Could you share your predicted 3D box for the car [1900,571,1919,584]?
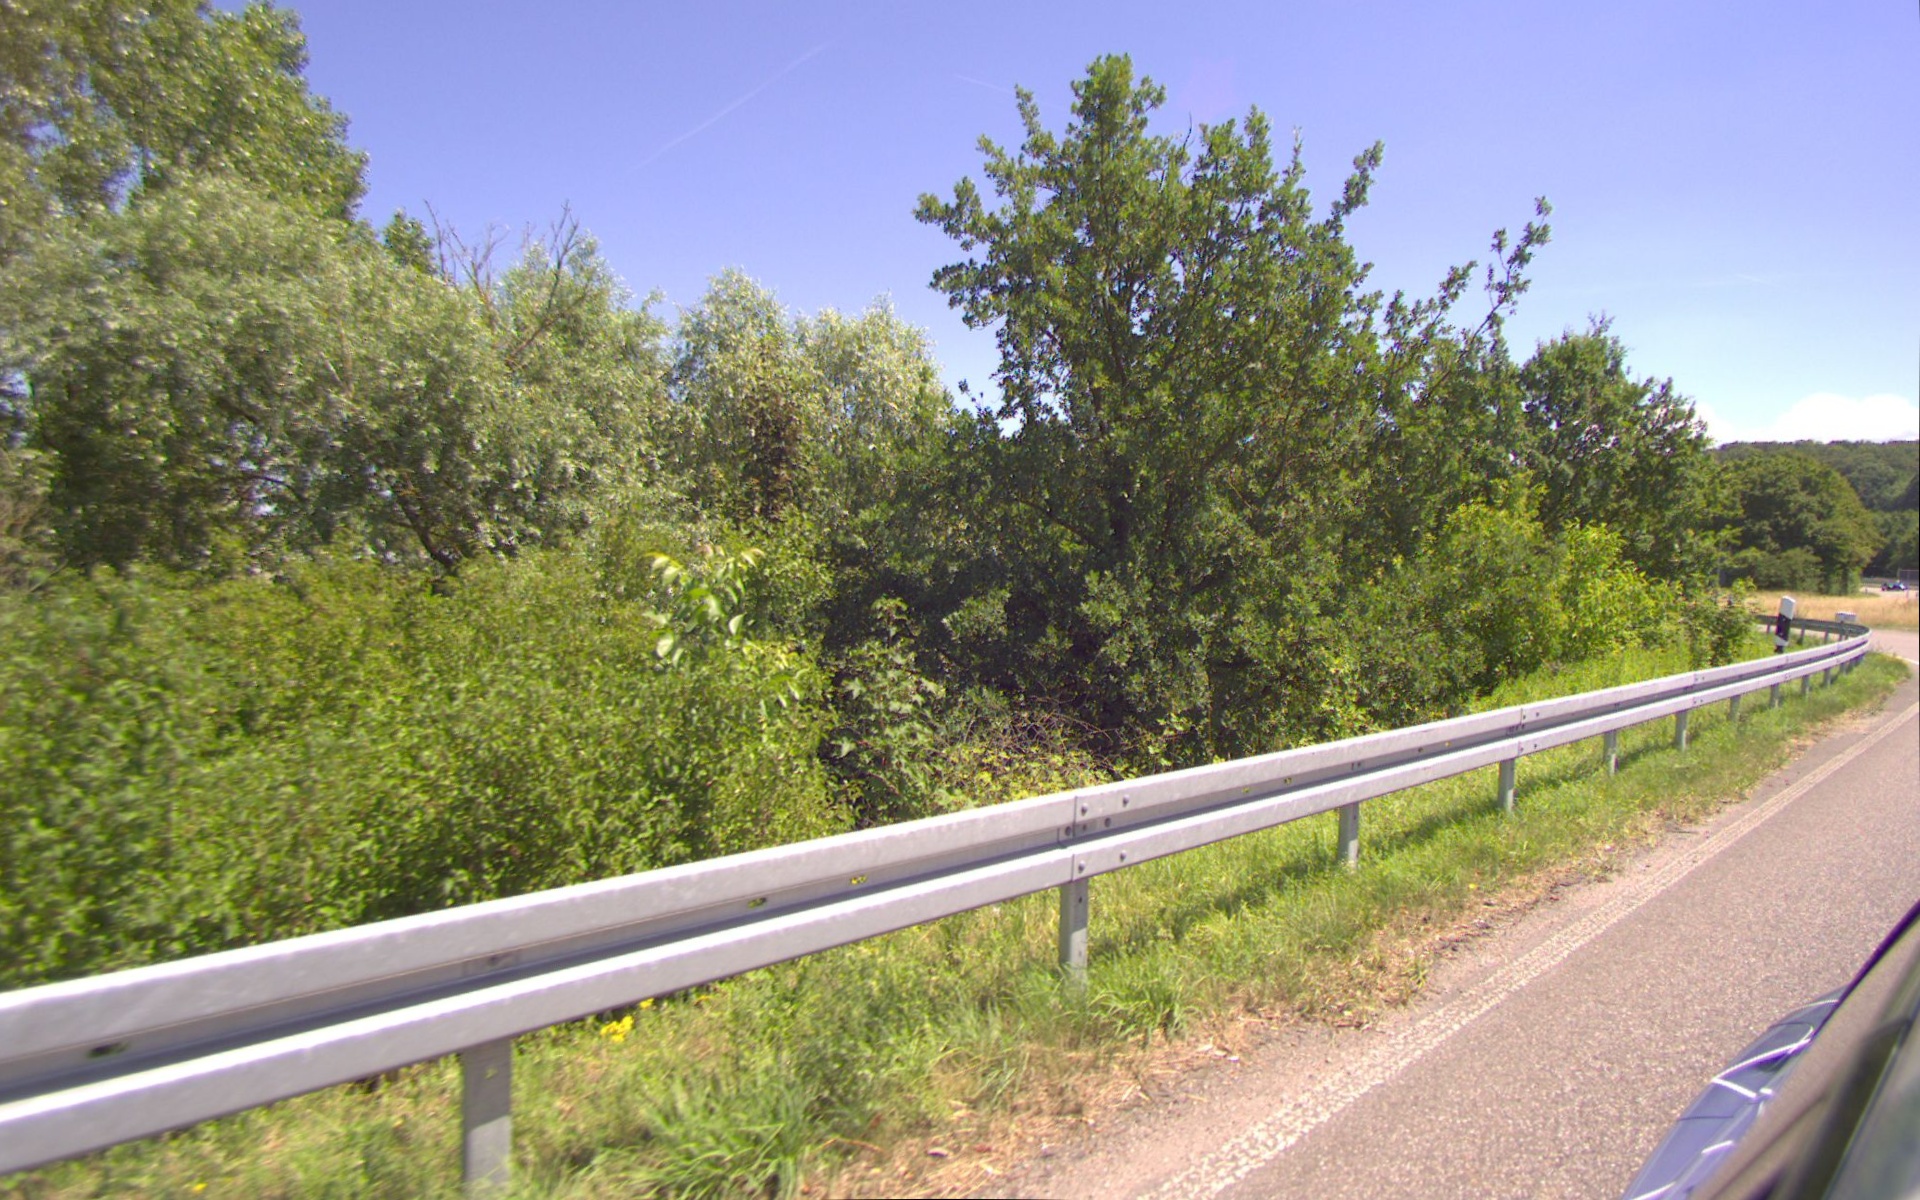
[{"bbox_3d":[130.636,-3.091,139.280,1.870,1.623,3.939,2,3,43],"label":"car"}]
